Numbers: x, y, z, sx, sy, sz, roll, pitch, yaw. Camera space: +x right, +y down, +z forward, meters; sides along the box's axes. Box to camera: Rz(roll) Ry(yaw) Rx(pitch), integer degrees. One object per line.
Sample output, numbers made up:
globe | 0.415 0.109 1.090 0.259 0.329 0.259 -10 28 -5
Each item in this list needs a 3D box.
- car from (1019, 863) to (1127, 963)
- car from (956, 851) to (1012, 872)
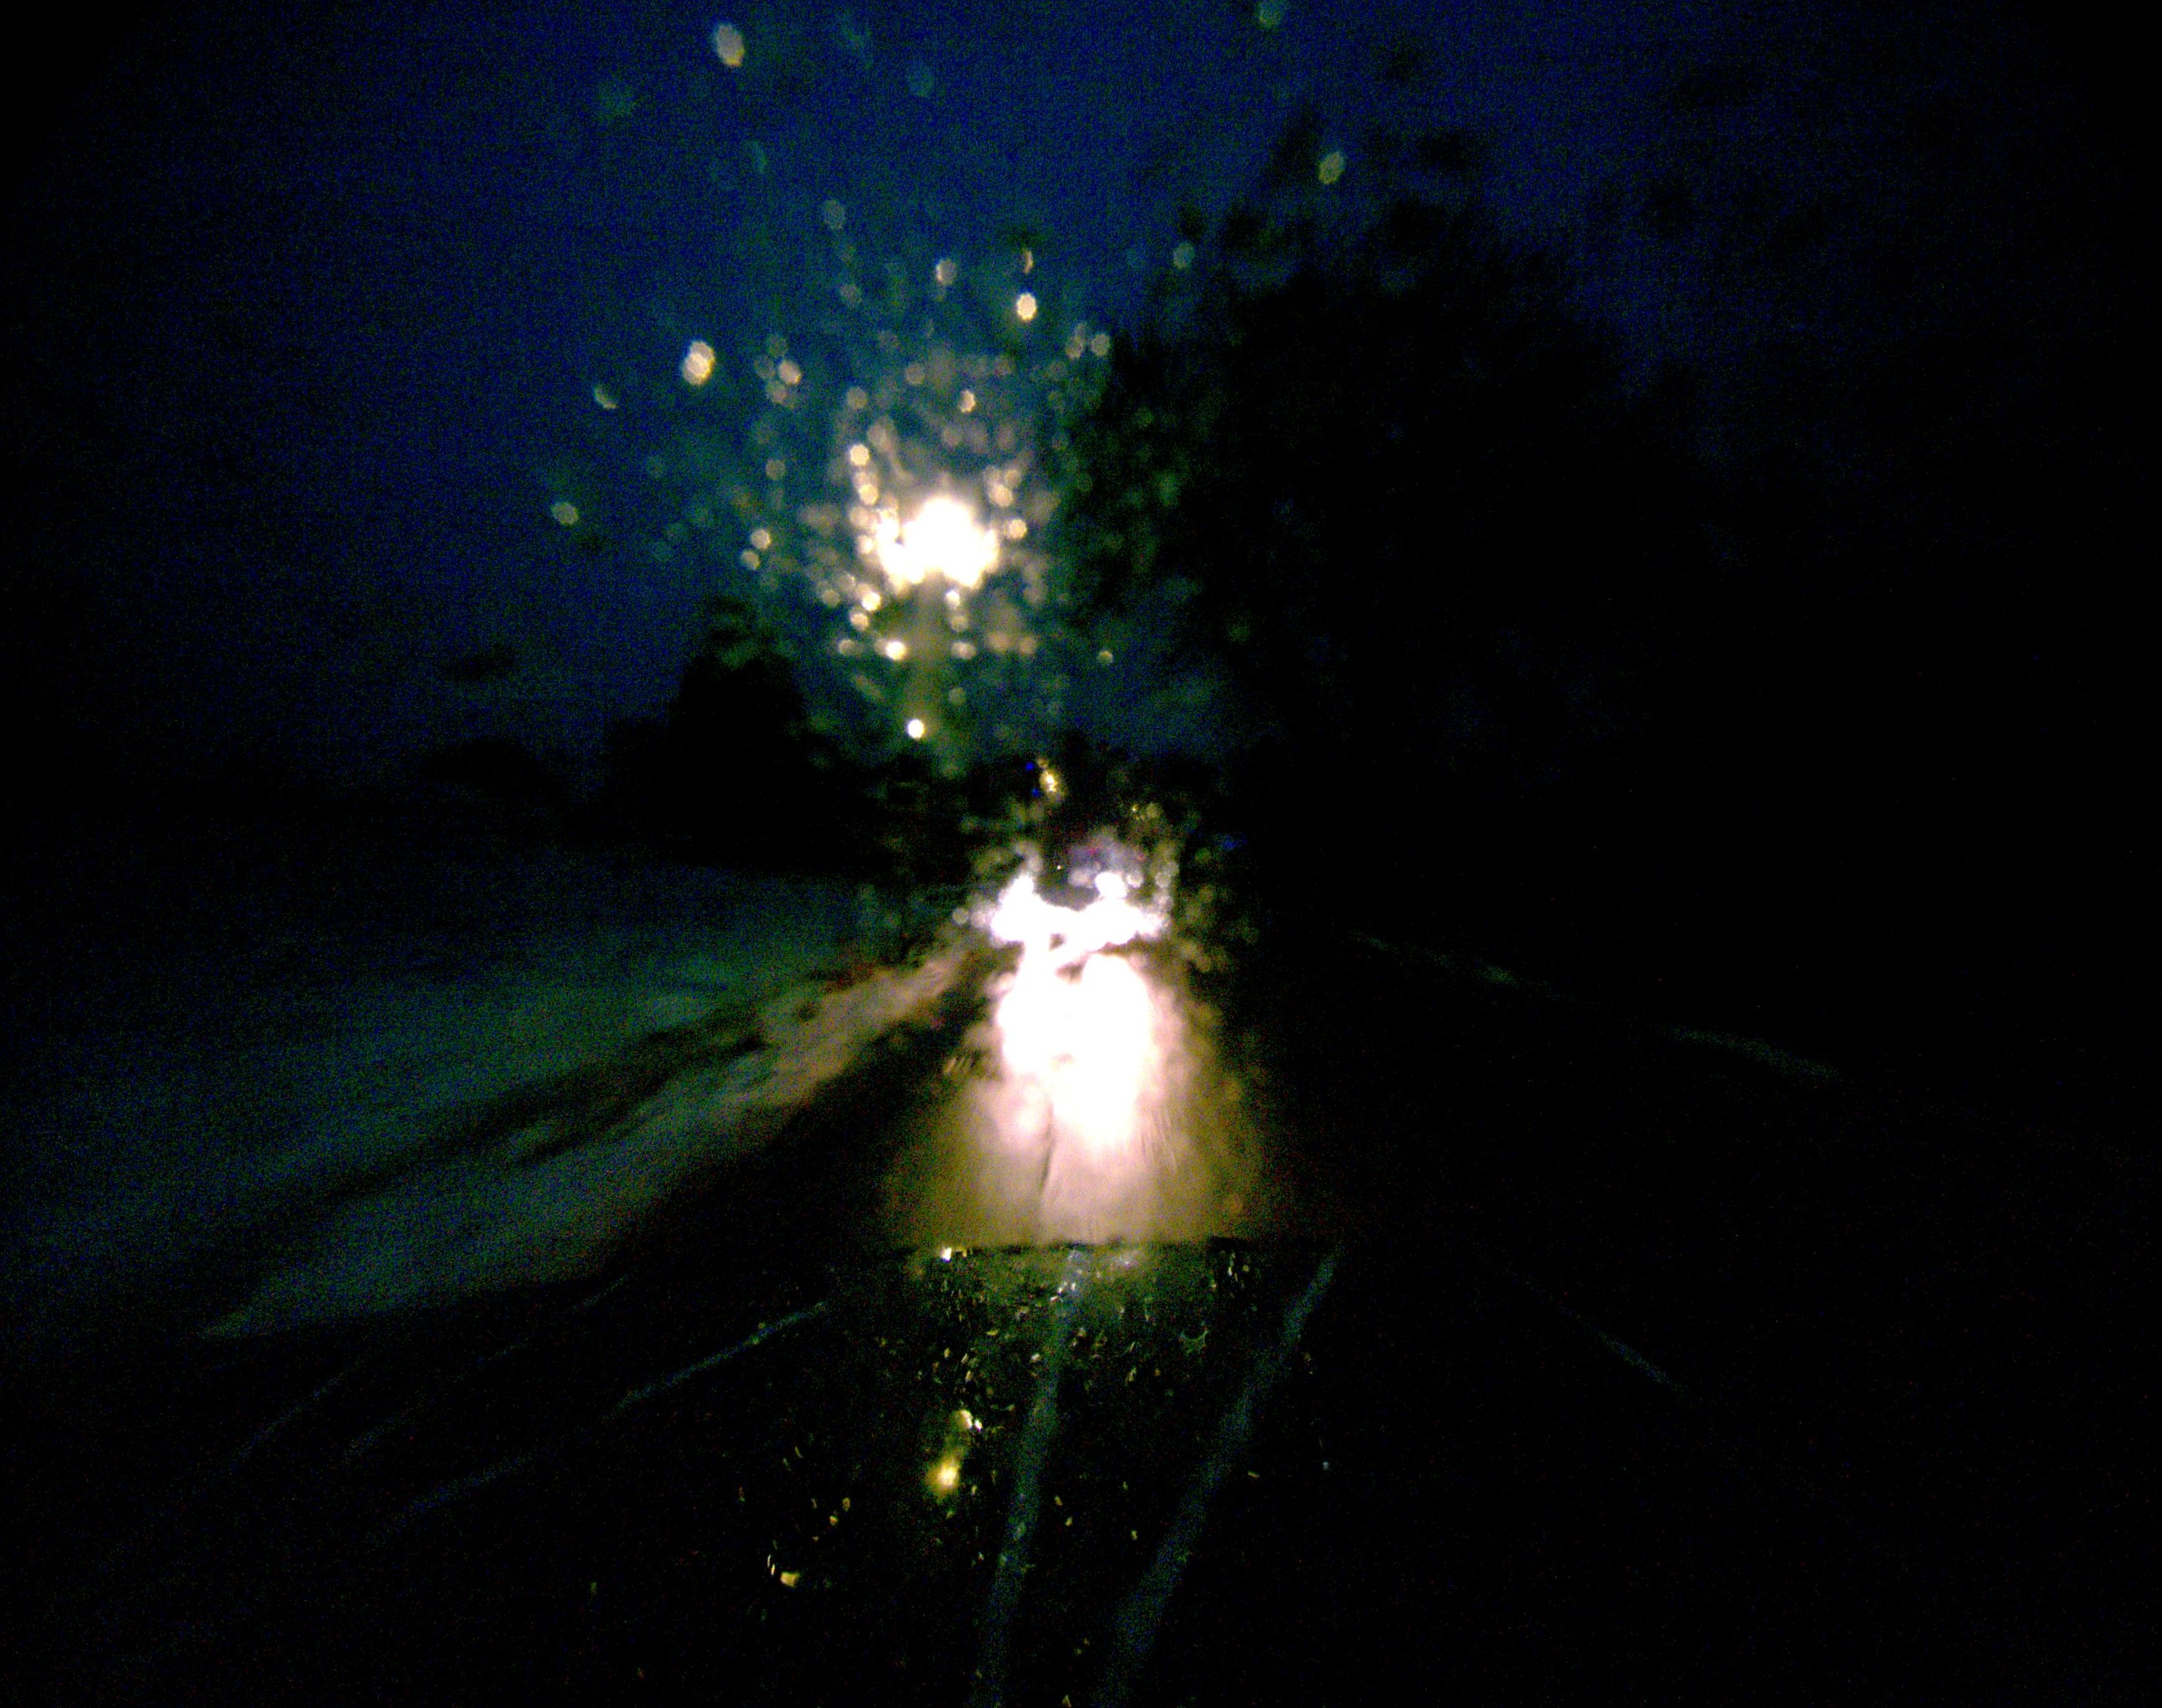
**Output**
car | -0.159 0.966 13.998 1.650 1.446 3.680 -3 0 -1
car | -8.245 0.619 64.784 4.403 1.647 1.864 2 -1 9
